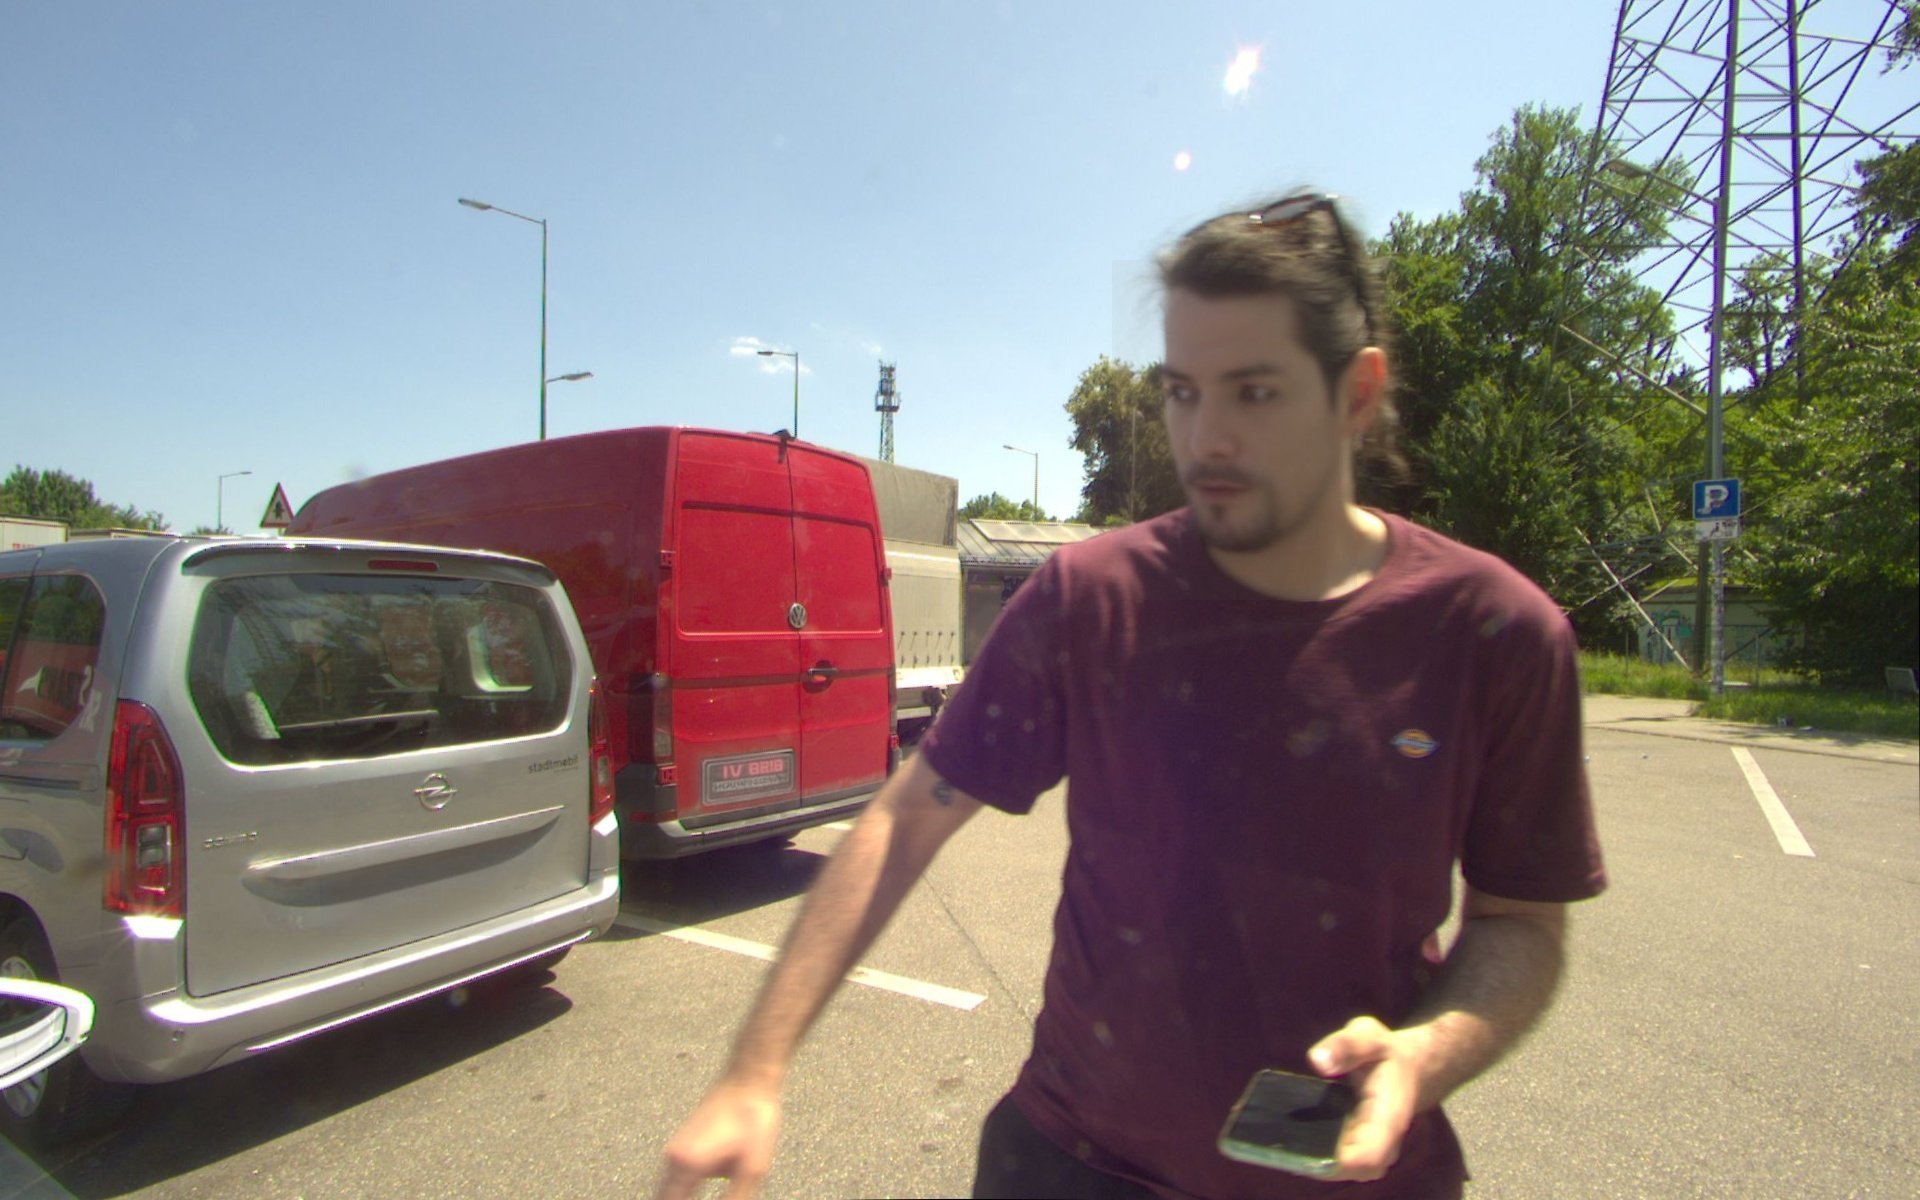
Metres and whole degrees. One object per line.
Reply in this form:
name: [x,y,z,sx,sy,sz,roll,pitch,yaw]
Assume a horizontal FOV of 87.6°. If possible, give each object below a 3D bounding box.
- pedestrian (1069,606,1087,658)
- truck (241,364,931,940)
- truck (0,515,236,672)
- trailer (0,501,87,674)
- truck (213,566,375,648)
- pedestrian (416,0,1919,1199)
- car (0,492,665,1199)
pedestrian: [3.522,0.960,29.921,0.453,1.535,0.375,1,0,-2]
truck: [-2.875,0.264,6.997,5.233,2.658,1.987,0,-1,37]
truck: [-28.004,-0.124,31.782,14.316,4.175,2.901,0,-3,33]
trailer: [-28.809,-0.321,28.029,13.374,4.178,2.871,0,-1,33]
truck: [-30.723,0.329,46.070,8.407,3.482,3.019,0,-1,33]
pedestrian: [0.203,0.452,0.876,0.926,1.798,0.827,1,0,28]
car: [-3.361,0.639,4.212,3.938,1.776,1.824,0,-1,29]
